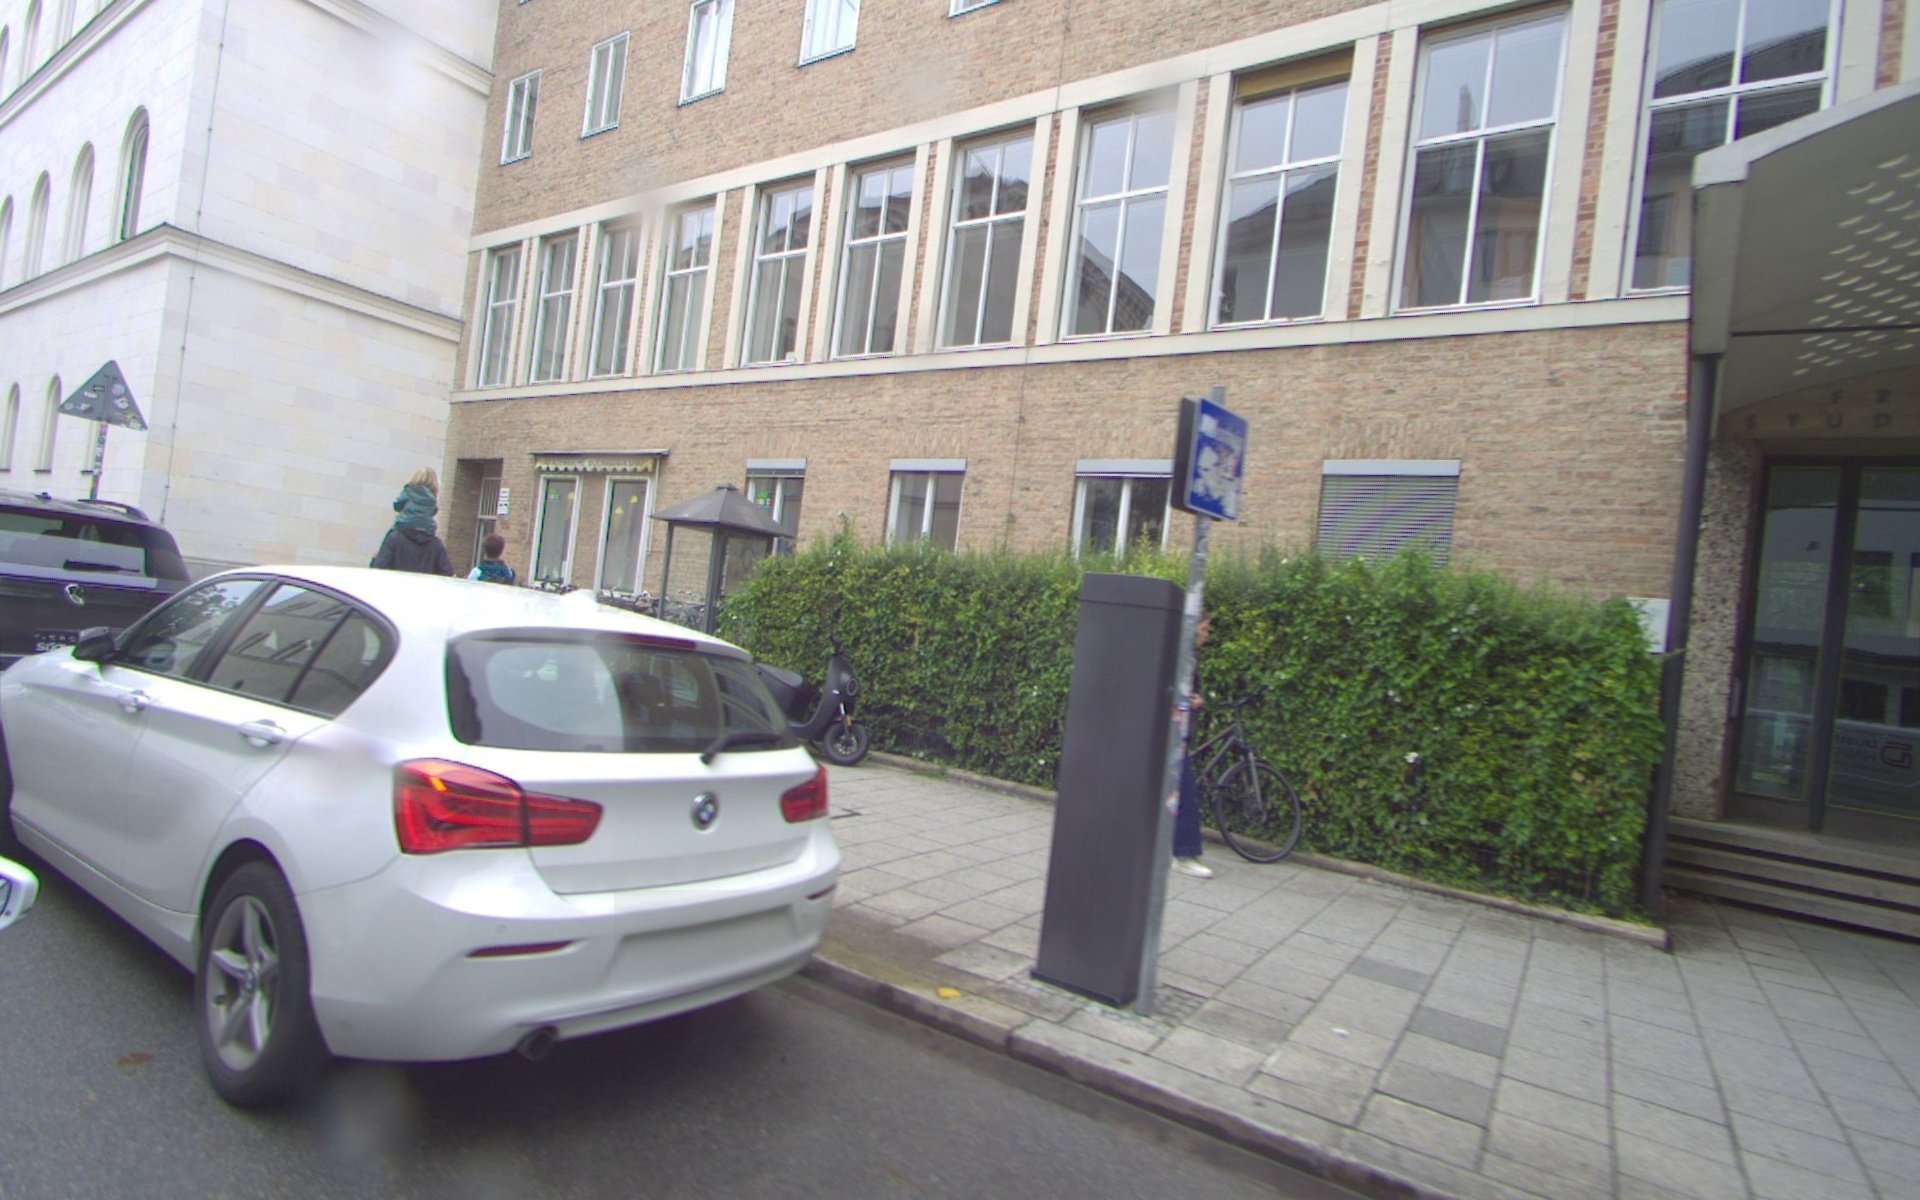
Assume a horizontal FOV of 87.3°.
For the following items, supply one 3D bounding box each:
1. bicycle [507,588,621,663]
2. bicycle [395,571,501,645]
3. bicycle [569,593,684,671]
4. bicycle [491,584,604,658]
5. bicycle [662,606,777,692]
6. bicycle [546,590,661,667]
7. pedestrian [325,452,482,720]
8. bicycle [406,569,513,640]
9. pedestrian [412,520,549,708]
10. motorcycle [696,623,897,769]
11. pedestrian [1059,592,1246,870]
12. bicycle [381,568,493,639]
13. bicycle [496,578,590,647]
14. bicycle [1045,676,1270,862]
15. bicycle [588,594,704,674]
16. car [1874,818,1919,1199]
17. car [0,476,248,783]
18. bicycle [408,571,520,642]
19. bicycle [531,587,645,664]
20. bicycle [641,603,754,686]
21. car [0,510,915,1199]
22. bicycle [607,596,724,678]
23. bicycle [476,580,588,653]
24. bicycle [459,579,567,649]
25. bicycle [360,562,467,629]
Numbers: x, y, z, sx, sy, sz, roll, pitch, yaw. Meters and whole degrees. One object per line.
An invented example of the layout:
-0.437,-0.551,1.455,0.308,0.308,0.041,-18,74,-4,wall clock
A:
-6.230,0.418,15.906,0.343,1.054,1.629,7,0,38,bicycle
-8.131,0.148,16.031,0.343,1.054,1.430,7,0,34,bicycle
-5.002,0.504,15.176,0.343,1.054,1.629,7,0,38,bicycle
-6.623,0.359,16.226,0.343,1.054,1.629,7,0,38,bicycle
-3.170,0.680,13.419,0.342,1.054,1.632,7,0,31,bicycle
-5.414,0.459,15.365,0.343,1.054,1.629,7,0,38,bicycle
-4.961,-0.115,8.969,0.791,2.223,0.803,8,-1,-44,pedestrian
-8.939,0.099,18.010,0.343,1.108,1.628,7,0,40,bicycle
-4.733,0.139,9.933,0.855,1.713,0.742,8,0,-43,pedestrian
-1.571,0.872,9.479,1.892,1.066,0.489,7,-1,32,motorcycle
1.279,0.838,6.690,0.863,1.652,0.588,7,-1,36,pedestrian
-8.977,0.080,17.332,0.343,1.054,1.628,7,0,40,bicycle
-7.095,0.228,17.165,0.343,1.054,1.430,7,0,34,bicycle
1.433,1.202,7.432,1.464,1.066,0.422,7,-1,34,bicycle
-4.593,0.521,14.800,0.343,1.054,1.629,7,0,38,bicycle
3.674,0.965,0.214,4.795,1.947,1.885,7,-1,33,car
-6.564,0.013,6.547,3.893,1.612,1.750,6,-2,34,car
-8.415,0.125,17.139,0.343,1.054,1.628,7,0,40,bicycle
-5.768,0.418,15.664,0.343,1.054,1.629,7,0,38,bicycle
-3.625,0.647,14.016,0.343,1.054,1.631,7,0,32,bicycle
-2.399,0.570,3.998,4.134,1.433,1.676,6,-2,35,car
-4.218,0.552,14.522,0.343,1.054,1.629,7,0,38,bicycle
-6.987,0.294,16.495,0.343,1.054,1.629,7,0,38,bicycle
-7.673,0.259,17.332,0.343,1.054,1.629,7,0,38,bicycle
-9.985,-0.064,18.422,0.343,1.054,1.628,7,0,40,bicycle
